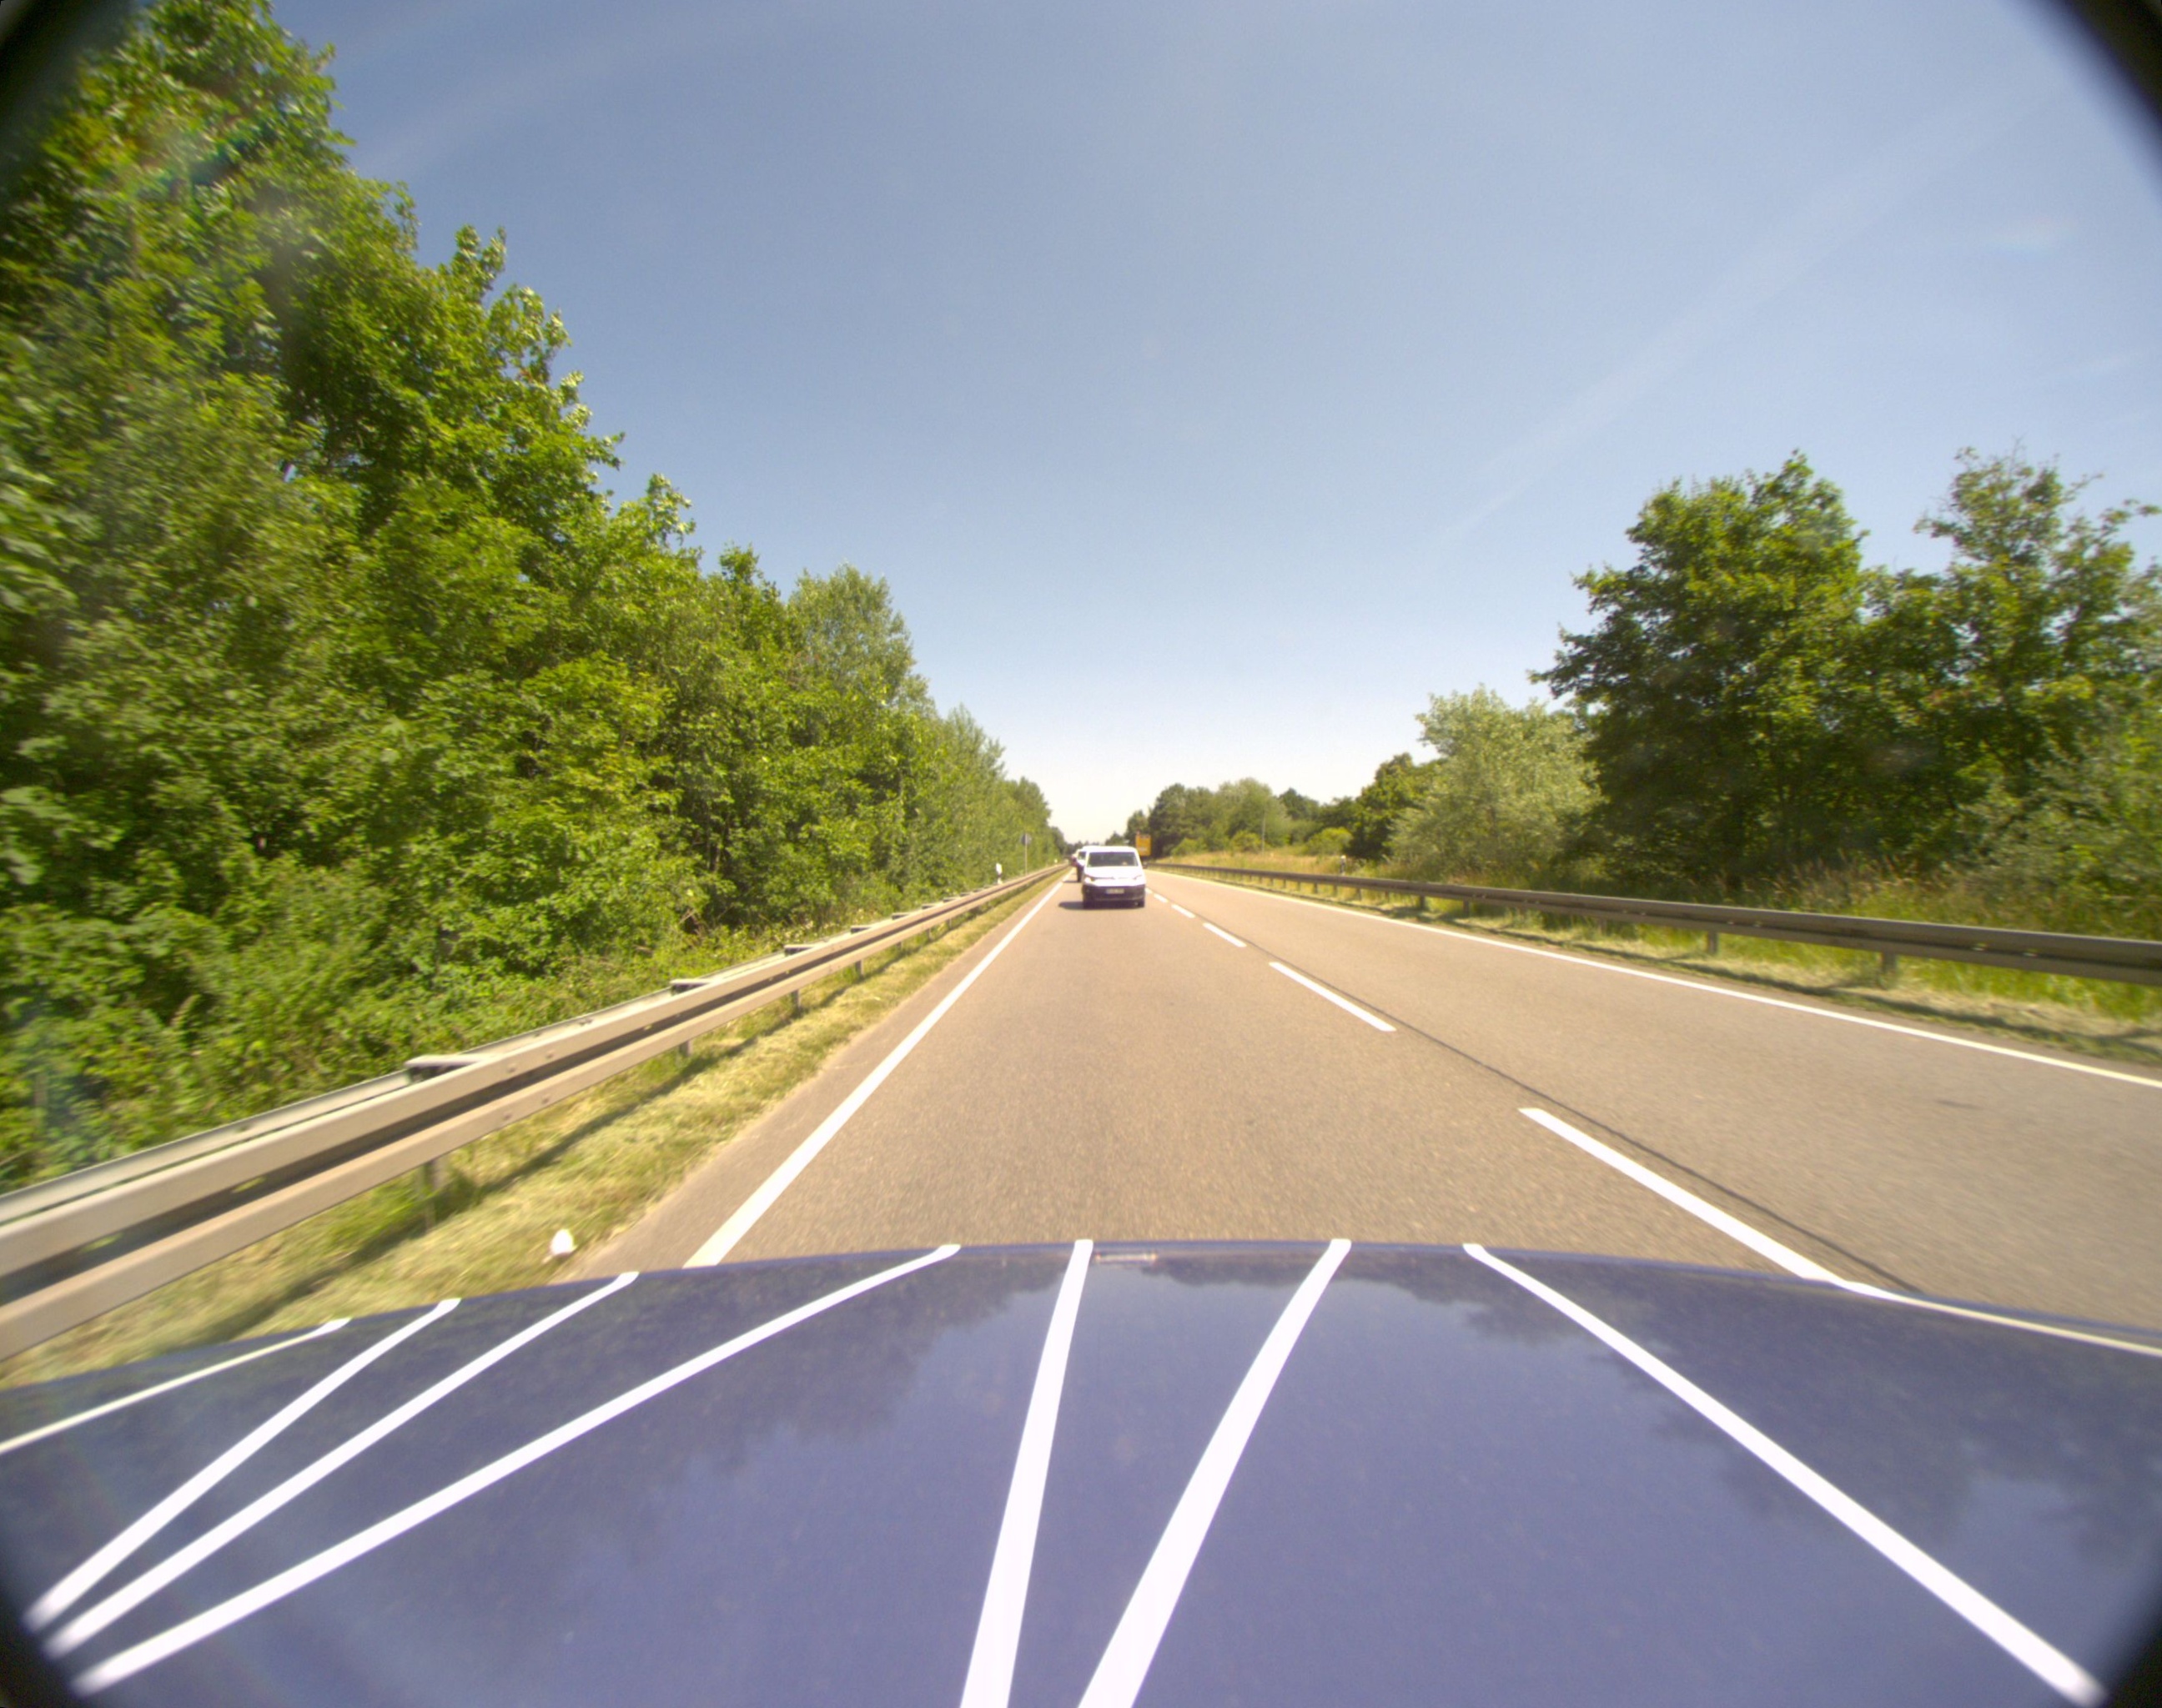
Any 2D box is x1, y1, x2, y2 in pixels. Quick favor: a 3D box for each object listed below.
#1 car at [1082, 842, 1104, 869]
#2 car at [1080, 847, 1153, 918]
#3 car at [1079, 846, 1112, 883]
[{"bbox_3d":[1.079,0.126,67.852,1.782,2.287,4.105,-2,0,1],"label":"car"},{"bbox_3d":[0.941,0.714,21.639,1.782,1.743,4.512,-2,0,1],"label":"car"},{"bbox_3d":[0.820,0.580,43.429,1.782,1.960,4.105,-2,0,1],"label":"car"}]
